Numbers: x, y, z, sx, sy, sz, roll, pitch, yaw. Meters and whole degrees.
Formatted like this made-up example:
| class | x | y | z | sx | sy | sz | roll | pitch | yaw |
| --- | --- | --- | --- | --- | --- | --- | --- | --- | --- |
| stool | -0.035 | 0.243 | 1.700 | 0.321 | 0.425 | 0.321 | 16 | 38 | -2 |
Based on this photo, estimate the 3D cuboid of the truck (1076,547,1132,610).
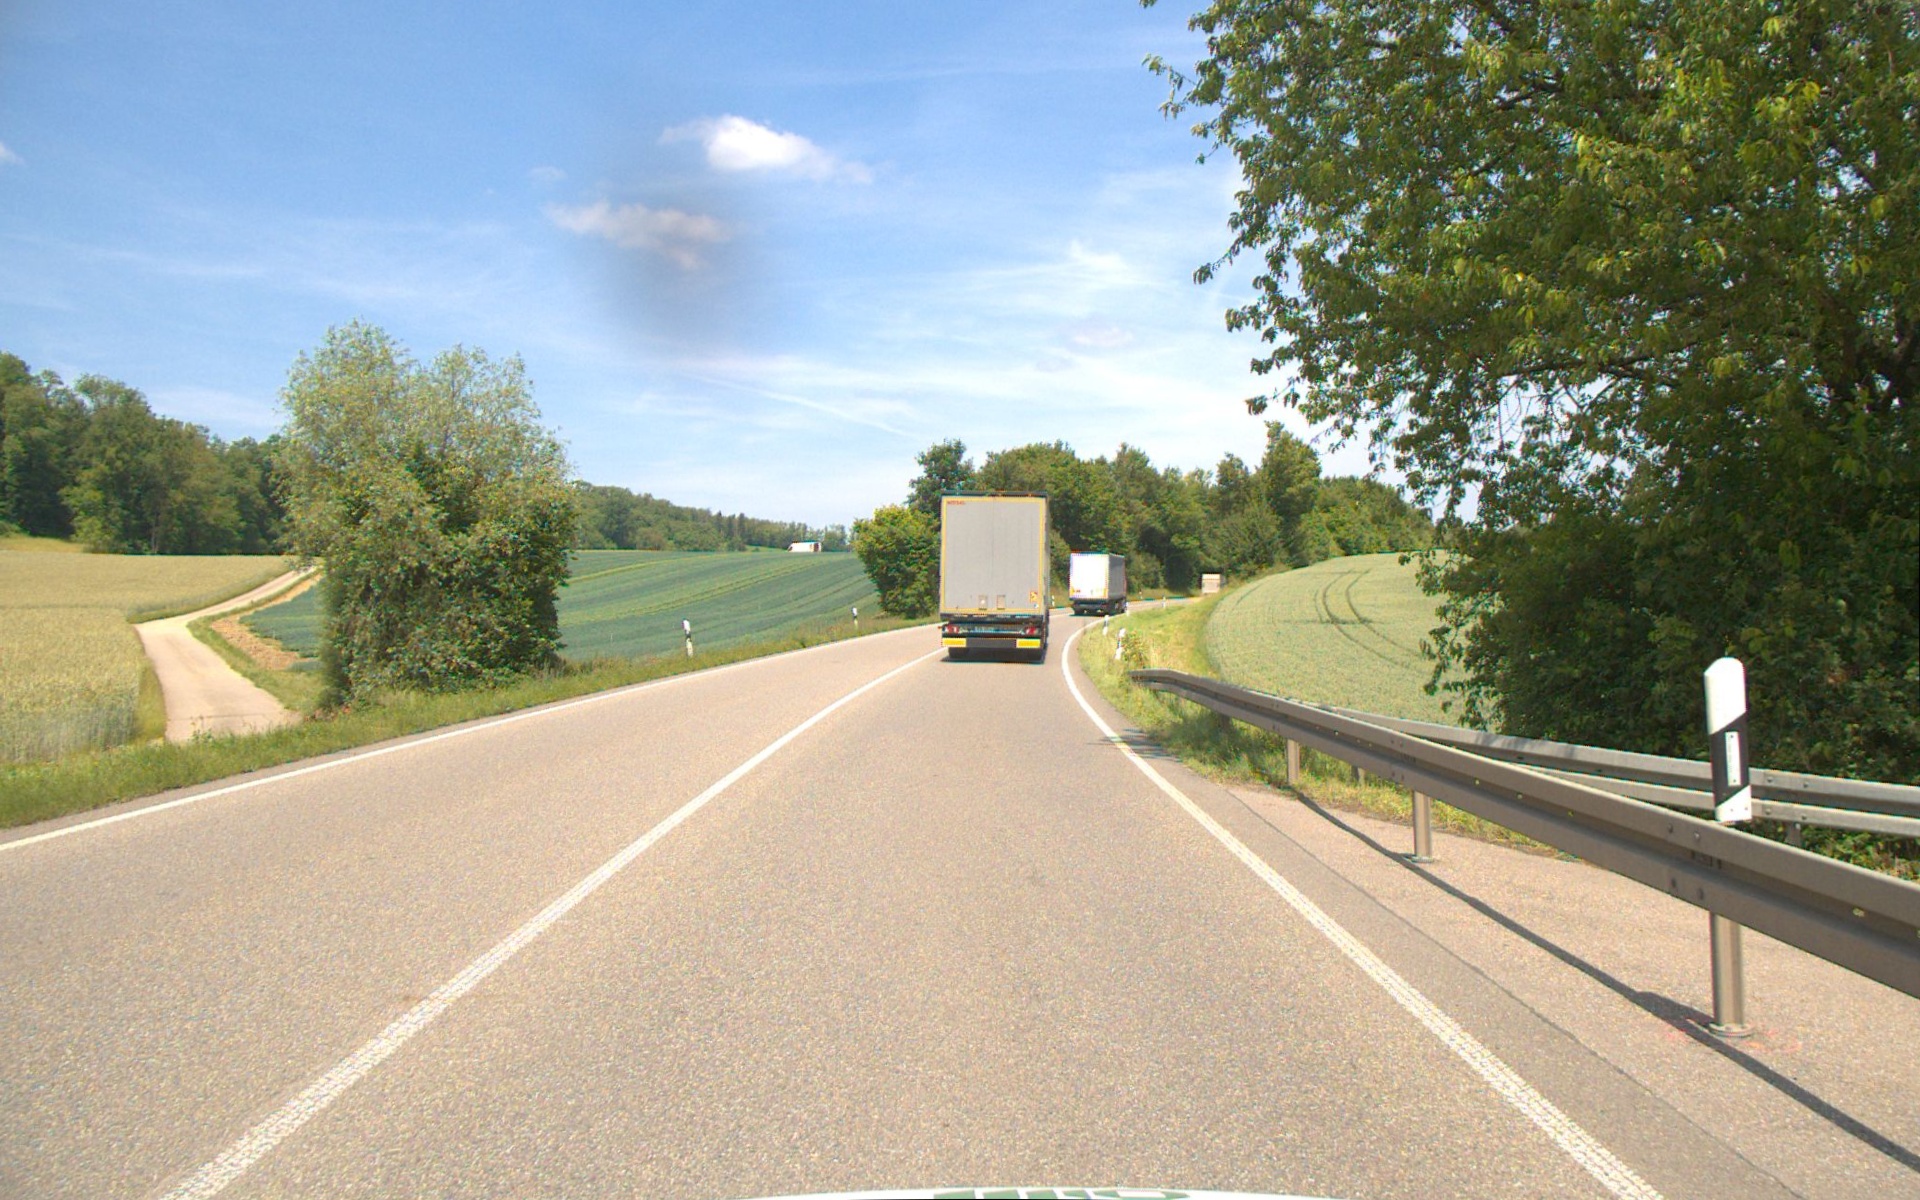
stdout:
| class | x | y | z | sx | sy | sz | roll | pitch | yaw |
| --- | --- | --- | --- | --- | --- | --- | --- | --- | --- |
| truck | 10.375 | -1.563 | 118.289 | 3.293 | 4.392 | 6.747 | 0 | 1 | 11 |

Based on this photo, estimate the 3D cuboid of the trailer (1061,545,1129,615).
| class | x | y | z | sx | sy | sz | roll | pitch | yaw |
| --- | --- | --- | --- | --- | --- | --- | --- | --- | --- |
| trailer | 9.288 | -1.426 | 112.070 | 3.293 | 4.392 | 13.878 | 0 | 1 | 10 |

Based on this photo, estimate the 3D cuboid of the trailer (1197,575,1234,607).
| class | x | y | z | sx | sy | sz | roll | pitch | yaw |
| --- | --- | --- | --- | --- | --- | --- | --- | --- | --- |
| trailer | 30.525 | -1.070 | 197.200 | 2.763 | 3.367 | 11.523 | -1 | -2 | 17 |

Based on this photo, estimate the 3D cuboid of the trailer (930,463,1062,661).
| class | x | y | z | sx | sy | sz | roll | pitch | yaw |
| --- | --- | --- | --- | --- | --- | --- | --- | --- | --- |
| trailer | 0.914 | -0.895 | 45.481 | 3.054 | 4.578 | 13.887 | 0 | 0 | 1 |
